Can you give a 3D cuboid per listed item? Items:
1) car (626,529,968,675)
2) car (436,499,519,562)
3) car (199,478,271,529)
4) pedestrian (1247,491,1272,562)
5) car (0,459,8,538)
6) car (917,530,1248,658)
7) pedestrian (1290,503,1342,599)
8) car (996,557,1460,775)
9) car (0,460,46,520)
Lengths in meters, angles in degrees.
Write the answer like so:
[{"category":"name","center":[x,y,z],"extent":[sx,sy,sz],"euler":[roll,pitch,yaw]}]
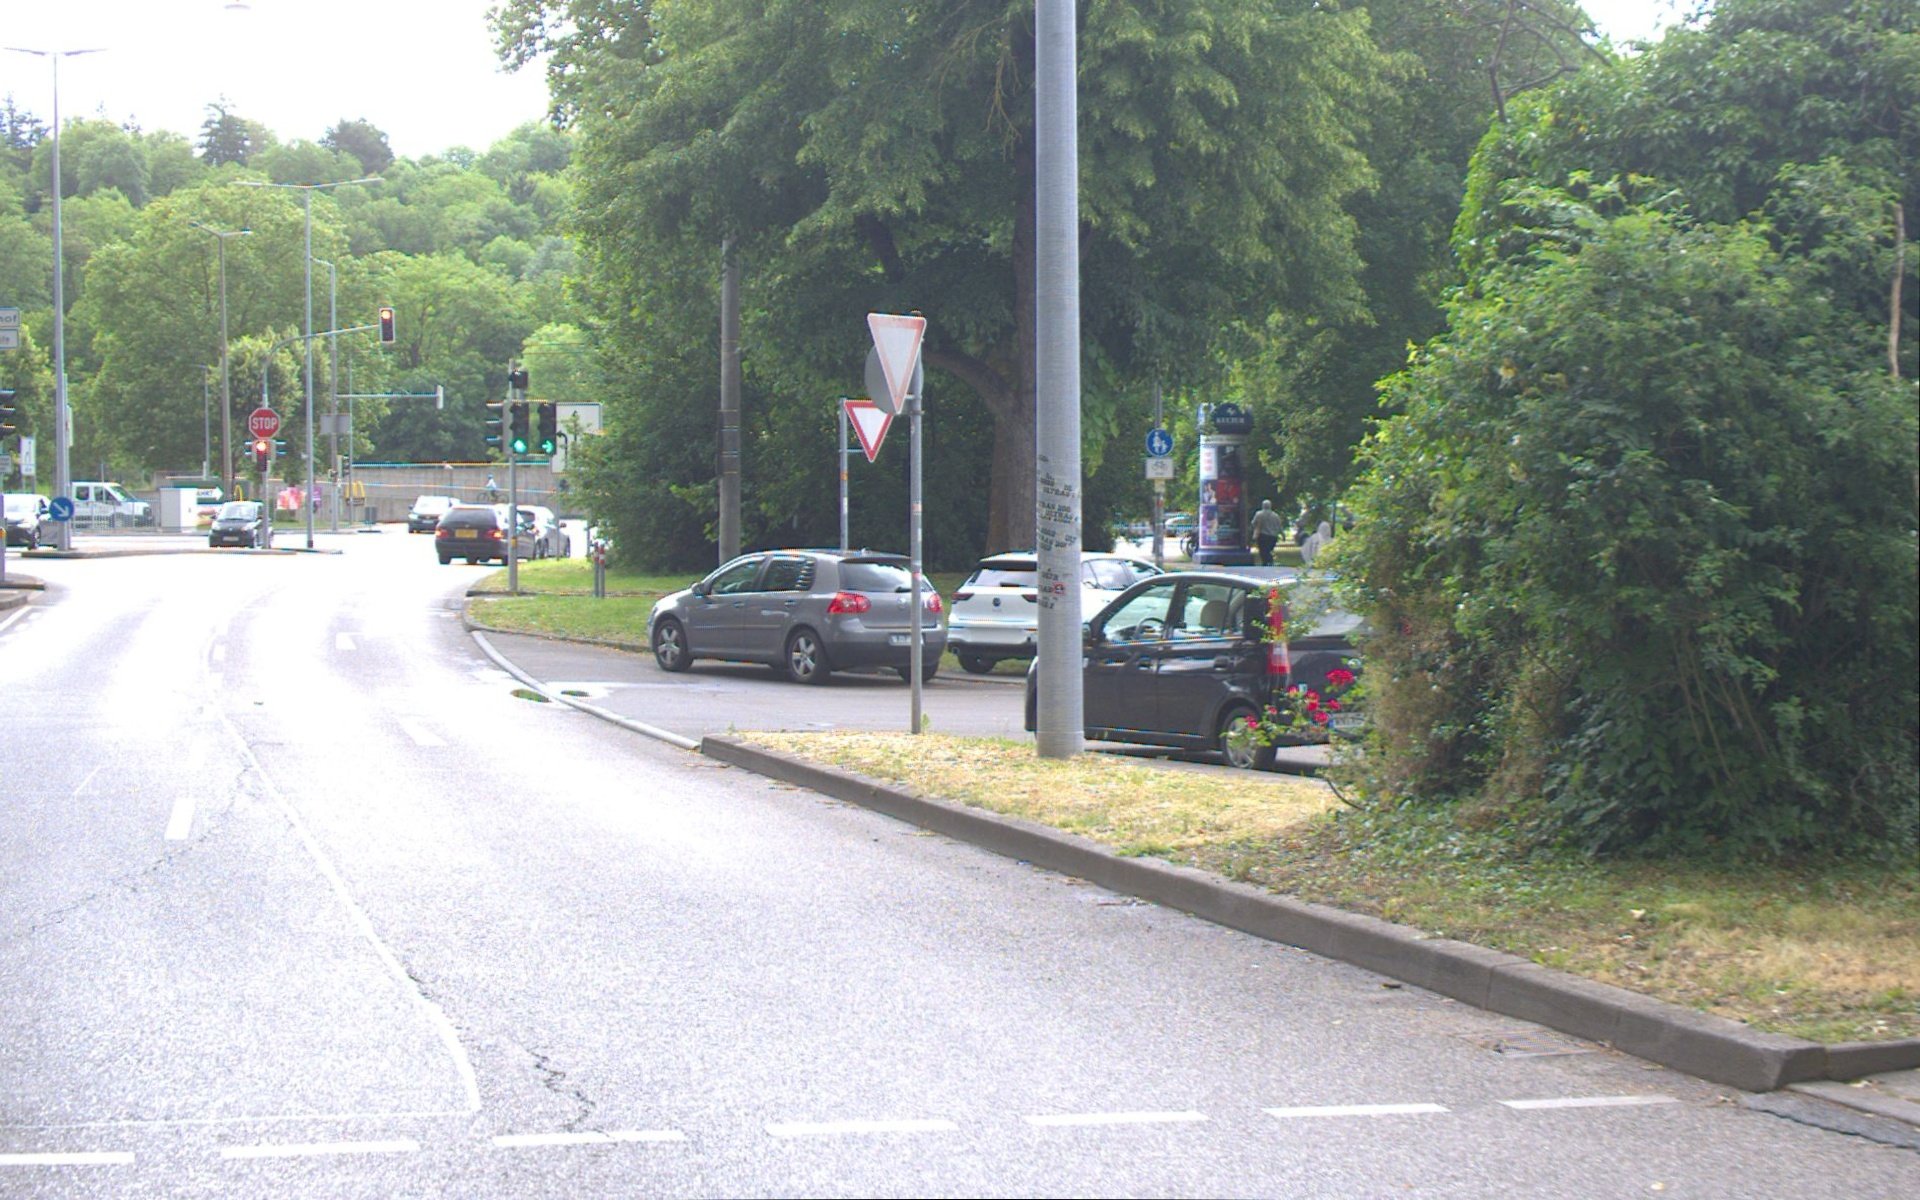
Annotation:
[{"category":"car","center":[-1.904,-0.025,39.131],"extent":[1.728,1.424,4.111],"euler":[-2,4,-40]},{"category":"car","center":[-11.857,-1.728,84.681],"extent":[1.822,1.504,4.575],"euler":[0,1,-5]},{"category":"car","center":[-23.103,-3.086,109.641],"extent":[1.568,1.521,3.189],"euler":[0,3,1]},{"category":"pedestrian","center":[6.448,-1.588,74.102],"extent":[0.510,1.526,0.778],"euler":[0,2,3]},{"category":"car","center":[-22.499,-2.223,76.374],"extent":[1.910,1.757,4.754],"euler":[-1,3,-7]},{"category":"car","center":[1.507,-0.111,40.714],"extent":[1.763,1.376,4.252],"euler":[2,3,38]},{"category":"pedestrian","center":[5.803,-0.798,56.062],"extent":[0.683,1.546,0.743],"euler":[0,2,-6]},{"category":"car","center":[1.936,0.433,25.688],"extent":[1.568,1.399,3.494],"euler":[-2,3,-36]},{"category":"car","center":[-23.852,-2.748,85.898],"extent":[1.568,1.377,3.951],"euler":[-2,4,-9]}]
